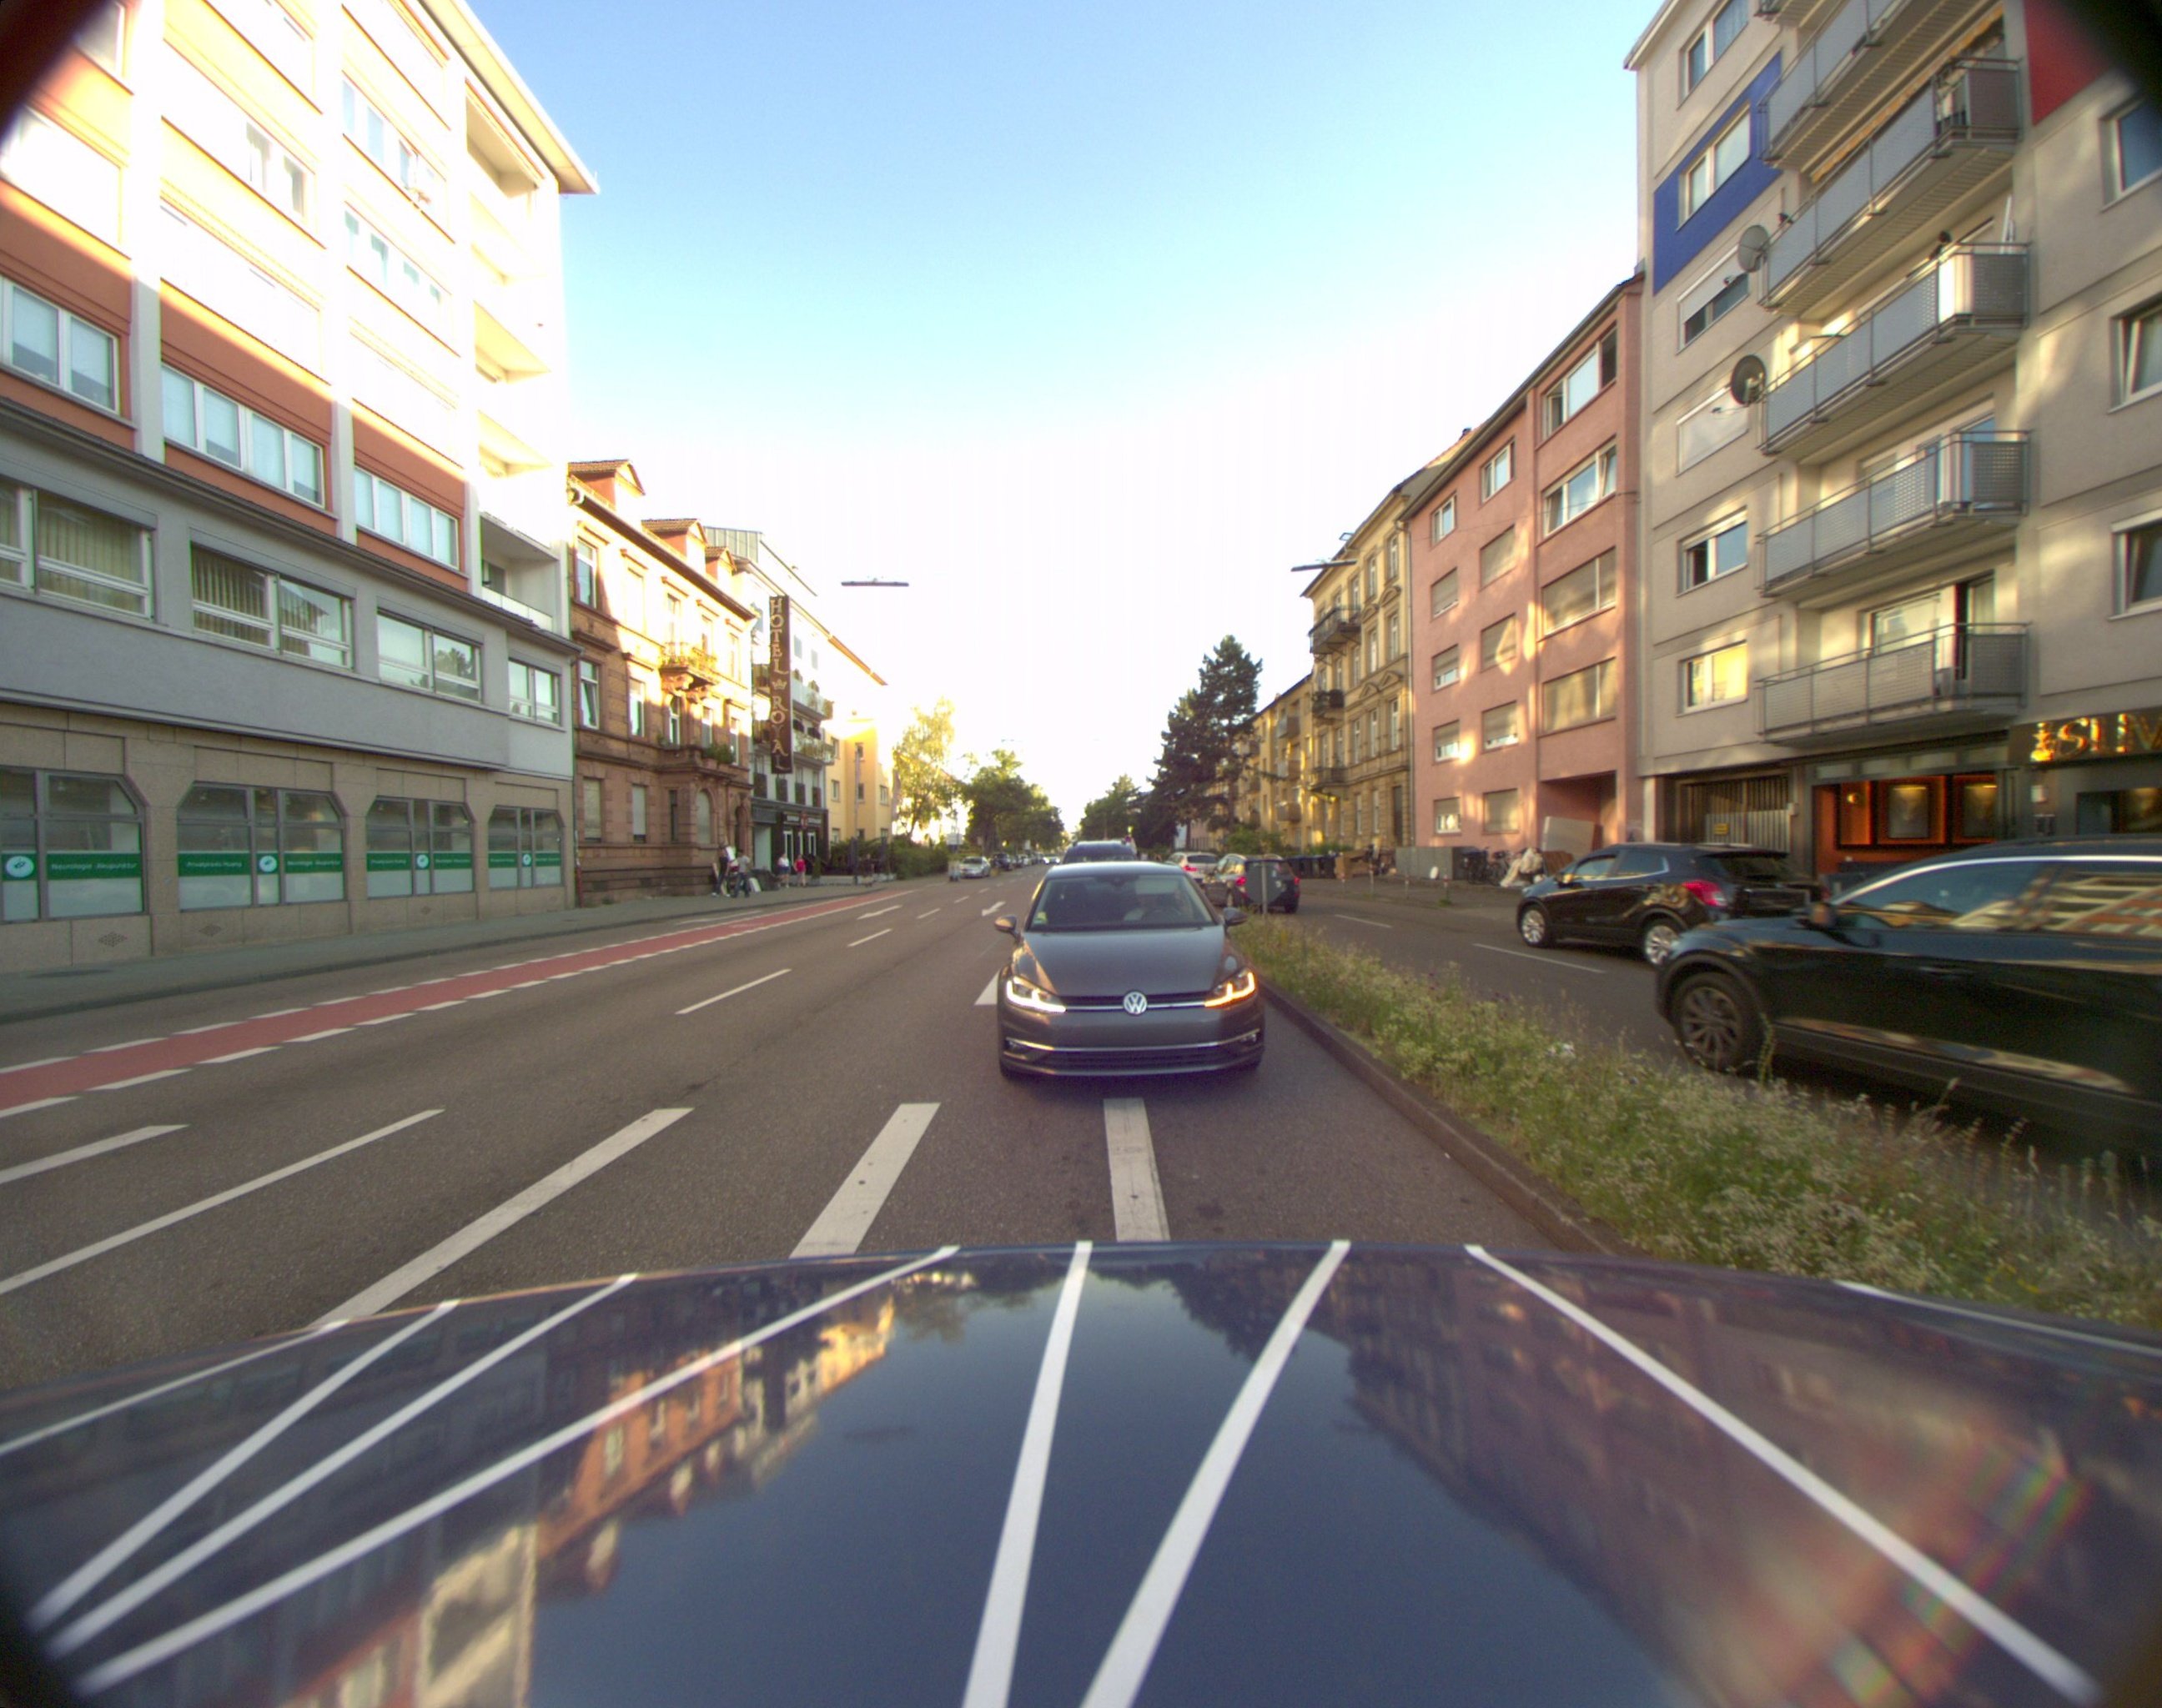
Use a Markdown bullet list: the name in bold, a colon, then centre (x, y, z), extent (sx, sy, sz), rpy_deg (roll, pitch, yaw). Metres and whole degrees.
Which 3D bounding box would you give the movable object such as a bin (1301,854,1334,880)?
- **movable object such as a bin**: centre (11.250, 0.612, 36.167), extent (1.295, 1.225, 0.926), rpy_deg (-2, 1, -40)

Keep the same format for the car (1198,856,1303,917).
- **car**: centre (4.375, 0.781, 20.207), extent (1.597, 1.462, 3.983), rpy_deg (0, 0, -5)

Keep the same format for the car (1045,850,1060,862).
- **car**: centre (-3.892, 0.227, 103.746), extent (1.907, 1.532, 3.999), rpy_deg (-1, 1, 0)

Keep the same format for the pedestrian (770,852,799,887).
- **pedestrian**: centre (-13.916, 0.707, 35.674), extent (1.008, 1.579, 0.789), rpy_deg (4, 1, 35)

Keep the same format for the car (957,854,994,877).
- **car**: centre (-7.327, 0.780, 53.199), extent (1.905, 1.508, 4.074), rpy_deg (-1, 0, 1)

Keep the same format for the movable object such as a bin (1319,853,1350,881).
- **movable object such as a bin**: centre (11.823, 0.600, 35.422), extent (1.196, 1.225, 0.847), rpy_deg (-2, 1, -40)

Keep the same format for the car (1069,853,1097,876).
- **car**: centre (0.112, 0.698, 52.010), extent (1.596, 1.533, 3.402), rpy_deg (0, 1, -6)

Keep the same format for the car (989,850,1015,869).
- **car**: centre (-7.151, 0.488, 68.993), extent (1.947, 1.615, 4.193), rpy_deg (-1, 0, 0)

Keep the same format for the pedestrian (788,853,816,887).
- **pedestrian**: centre (-13.280, 0.754, 36.197), extent (1.008, 1.579, 0.740), rpy_deg (4, 1, 36)

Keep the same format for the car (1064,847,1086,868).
- **car**: centre (-0.602, 0.282, 69.360), extent (1.895, 1.843, 4.699), rpy_deg (0, 0, -2)

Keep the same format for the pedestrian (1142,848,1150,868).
- **pedestrian**: centre (5.063, 0.326, 59.586), extent (0.577, 1.591, 0.481), rpy_deg (-1, 1, 1)

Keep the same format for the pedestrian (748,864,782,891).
- **pedestrian**: centre (-13.720, 1.015, 33.008), extent (1.100, 1.129, 0.924), rpy_deg (-1, 1, -2)

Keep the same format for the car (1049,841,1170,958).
- **car**: centre (0.444, 0.706, 14.223), extent (1.895, 1.843, 4.466), rpy_deg (0, 0, 0)

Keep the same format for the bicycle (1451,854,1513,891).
- **bicycle**: centre (13.166, 0.596, 24.968), extent (1.780, 1.184, 0.473), rpy_deg (-1, 1, -2)

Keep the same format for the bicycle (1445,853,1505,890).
- **bicycle**: centre (13.247, 0.586, 25.547), extent (1.780, 1.184, 0.473), rpy_deg (-1, 1, -2)

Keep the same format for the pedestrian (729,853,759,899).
- **pedestrian**: centre (-12.748, 0.812, 28.763), extent (0.668, 1.716, 1.011), rpy_deg (-1, 1, -1)

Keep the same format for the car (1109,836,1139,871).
- **car**: centre (3.462, -0.052, 61.345), extent (2.136, 2.740, 4.465), rpy_deg (0, 1, 0)

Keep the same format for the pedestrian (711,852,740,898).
- **pedestrian**: centre (-13.459, 0.775, 28.808), extent (0.668, 1.716, 1.010), rpy_deg (-1, 1, -5)

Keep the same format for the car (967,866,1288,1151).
- **car**: centre (0.294, 0.918, 6.460), extent (1.770, 1.450, 4.269), rpy_deg (-2, 1, 1)

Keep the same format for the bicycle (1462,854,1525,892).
- **bicycle**: centre (13.144, 0.598, 24.234), extent (1.780, 1.184, 0.473), rpy_deg (-1, 1, -2)

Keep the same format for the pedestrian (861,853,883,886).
- **pedestrian**: centre (-10.407, 0.773, 37.835), extent (0.738, 1.593, 1.011), rpy_deg (2, 1, 4)

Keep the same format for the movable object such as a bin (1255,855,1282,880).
- **movable object such as a bin**: centre (9.466, 0.659, 38.262), extent (0.847, 1.225, 1.196), rpy_deg (0, 1, 42)

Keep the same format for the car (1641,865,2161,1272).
- **car**: centre (5.023, 0.856, 3.610), extent (1.679, 1.535, 4.102), rpy_deg (0, 0, 0)

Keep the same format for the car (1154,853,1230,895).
- **car**: centre (4.183, 0.715, 29.303), extent (1.758, 1.479, 4.245), rpy_deg (0, 0, -9)

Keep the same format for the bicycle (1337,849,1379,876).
- **bicycle**: centre (12.739, 0.393, 34.936), extent (1.780, 1.184, 0.473), rpy_deg (-1, 1, -2)

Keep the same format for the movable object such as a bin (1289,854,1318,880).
- **movable object such as a bin**: centre (10.858, 0.619, 37.062), extent (1.196, 1.225, 0.847), rpy_deg (-2, 1, -40)

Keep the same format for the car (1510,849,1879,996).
- **car**: centre (7.972, 0.762, 10.486), extent (1.724, 1.619, 4.101), rpy_deg (0, 0, -1)

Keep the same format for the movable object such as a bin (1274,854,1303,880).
- **movable object such as a bin**: centre (10.330, 0.631, 37.767), extent (1.196, 1.225, 0.847), rpy_deg (-2, 1, -40)
